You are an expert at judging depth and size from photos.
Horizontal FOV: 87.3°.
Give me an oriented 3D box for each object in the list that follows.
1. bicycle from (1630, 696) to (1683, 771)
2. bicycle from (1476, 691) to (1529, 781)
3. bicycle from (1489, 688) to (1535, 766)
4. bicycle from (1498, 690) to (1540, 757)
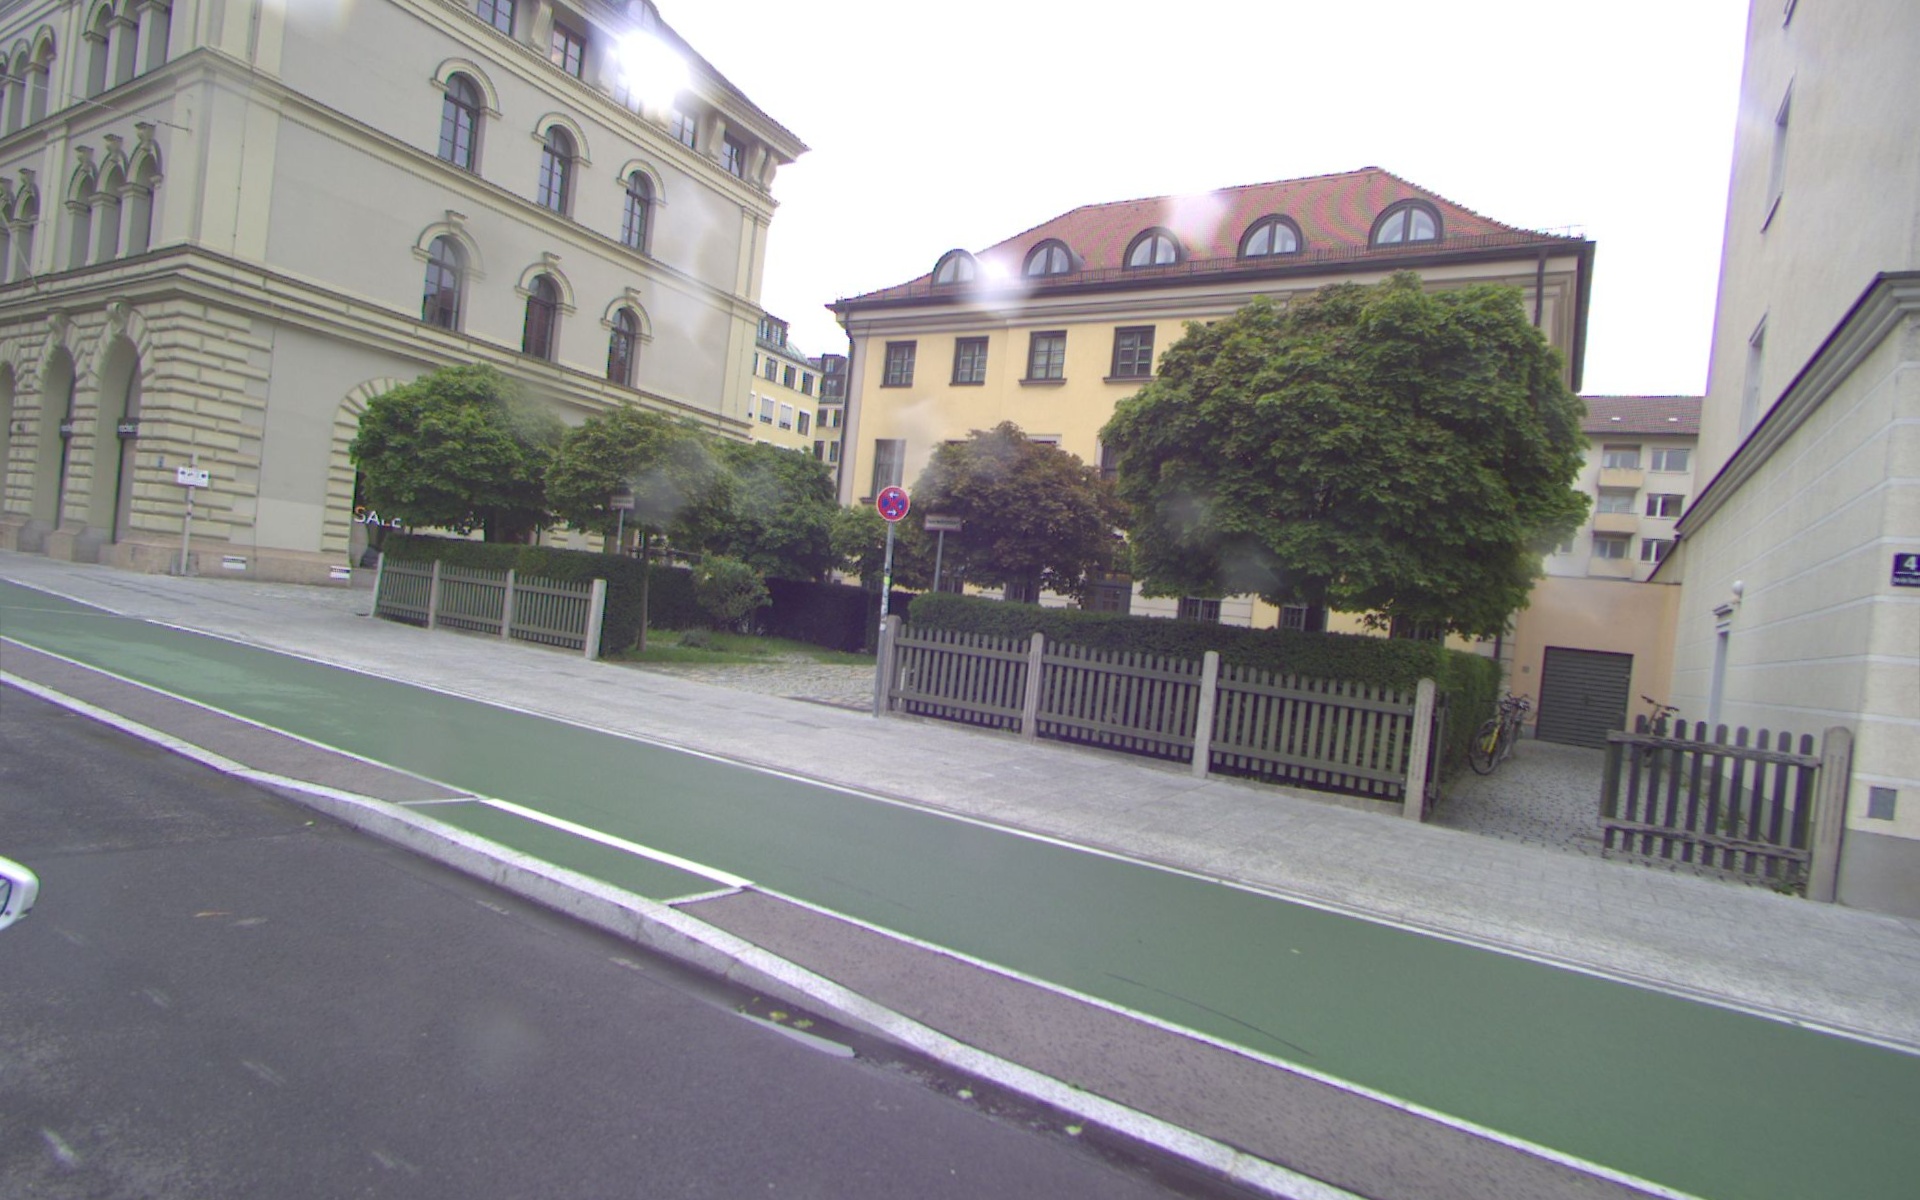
[{"bbox_3d":[12.503,2.368,18.095,0.512,1.186,1.830,7,0,30],"label":"bicycle"},{"bbox_3d":[7.820,1.918,14.466,0.512,1.130,1.830,7,0,30],"label":"bicycle"},{"bbox_3d":[8.962,2.017,16.295,0.512,1.124,1.830,7,0,30],"label":"bicycle"},{"bbox_3d":[9.968,2.167,17.924,0.512,1.048,1.830,7,0,30],"label":"bicycle"}]
